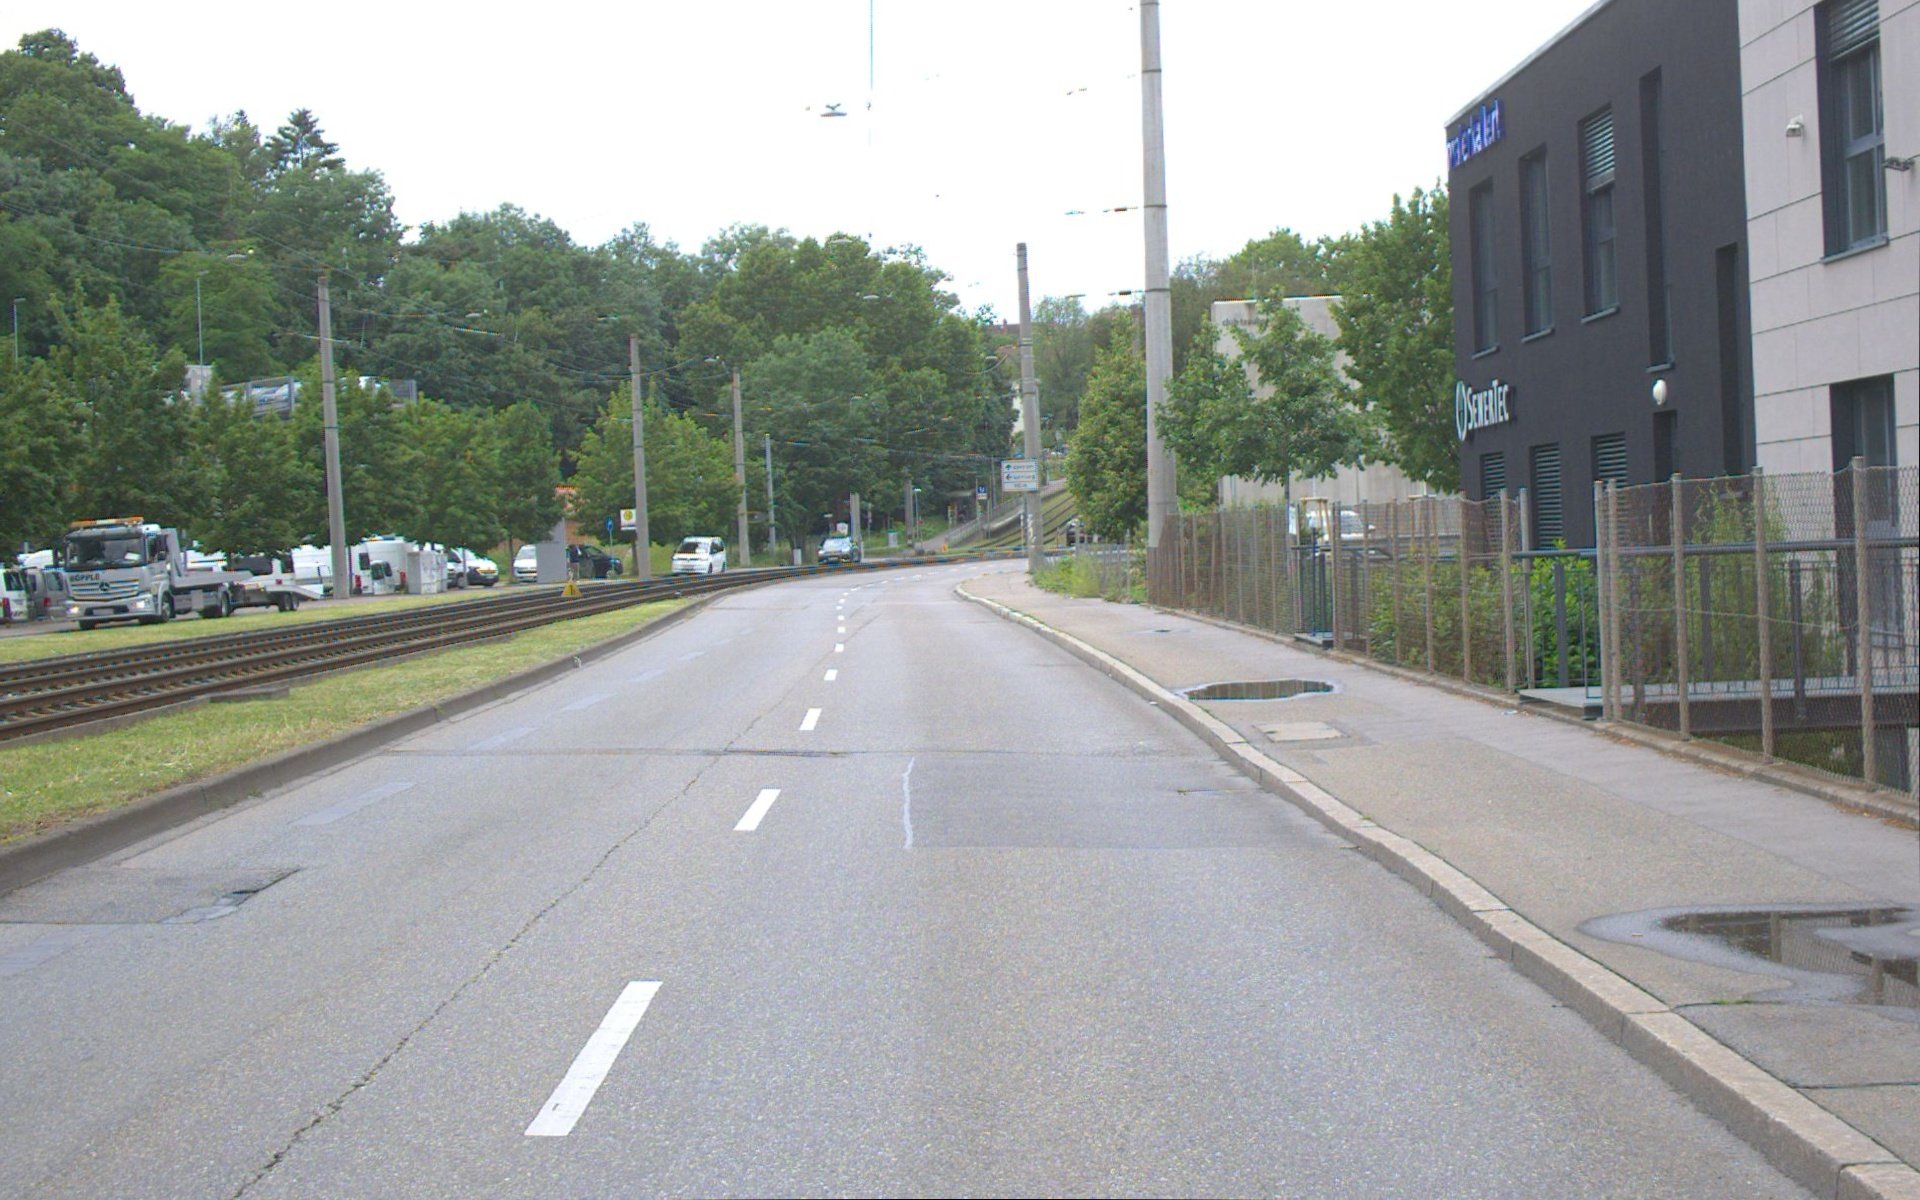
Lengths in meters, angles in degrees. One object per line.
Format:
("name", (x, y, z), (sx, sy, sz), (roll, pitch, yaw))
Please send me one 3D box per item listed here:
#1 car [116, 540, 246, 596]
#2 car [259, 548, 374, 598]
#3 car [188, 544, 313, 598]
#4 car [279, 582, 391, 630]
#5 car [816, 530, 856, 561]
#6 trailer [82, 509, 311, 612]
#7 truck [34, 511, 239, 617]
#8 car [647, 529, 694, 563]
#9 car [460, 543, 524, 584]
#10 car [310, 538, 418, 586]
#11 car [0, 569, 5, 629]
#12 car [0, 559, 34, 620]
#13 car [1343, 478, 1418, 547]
("car", (-27.090, -1.099, 119.611), (3.988, 1.700, 1.833), (-2, -3, 6))
("car", (-25.022, -1.051, 133.742), (3.988, 1.700, 1.833), (-2, -3, 6))
("car", (-25.405, -1.040, 123.236), (3.988, 1.700, 1.833), (-2, -3, 6))
("car", (-24.958, 0.248, 137.303), (3.988, 1.700, 1.833), (-2, -3, 6))
("car", (-6.764, -3.006, 187.999), (1.993, 1.634, 4.000), (-2, 1, 0))
("trailer", (-20.715, -1.141, 94.000), (2.893, 2.574, 9.992), (-2, 1, 7))
("truck", (-21.283, -0.984, 89.257), (2.884, 2.580, 6.910), (-2, 1, 7))
("car", (-14.524, -2.742, 172.760), (1.993, 1.634, 4.000), (-2, 1, 0))
("car", (-22.324, -1.718, 164.111), (1.828, 1.700, 4.141), (-2, -2, 10))
("car", (-24.467, -1.546, 141.188), (3.988, 1.700, 1.833), (-2, -3, 6))
("car", (-29.163, 0.062, 96.682), (3.988, 1.700, 1.833), (-2, 1, 6))
("car", (-29.033, -0.247, 99.194), (3.988, 1.700, 1.834), (-2, 2, 6))
("car", (11.213, -2.330, 91.476), (1.828, 1.700, 3.804), (-2, 1, 9))
